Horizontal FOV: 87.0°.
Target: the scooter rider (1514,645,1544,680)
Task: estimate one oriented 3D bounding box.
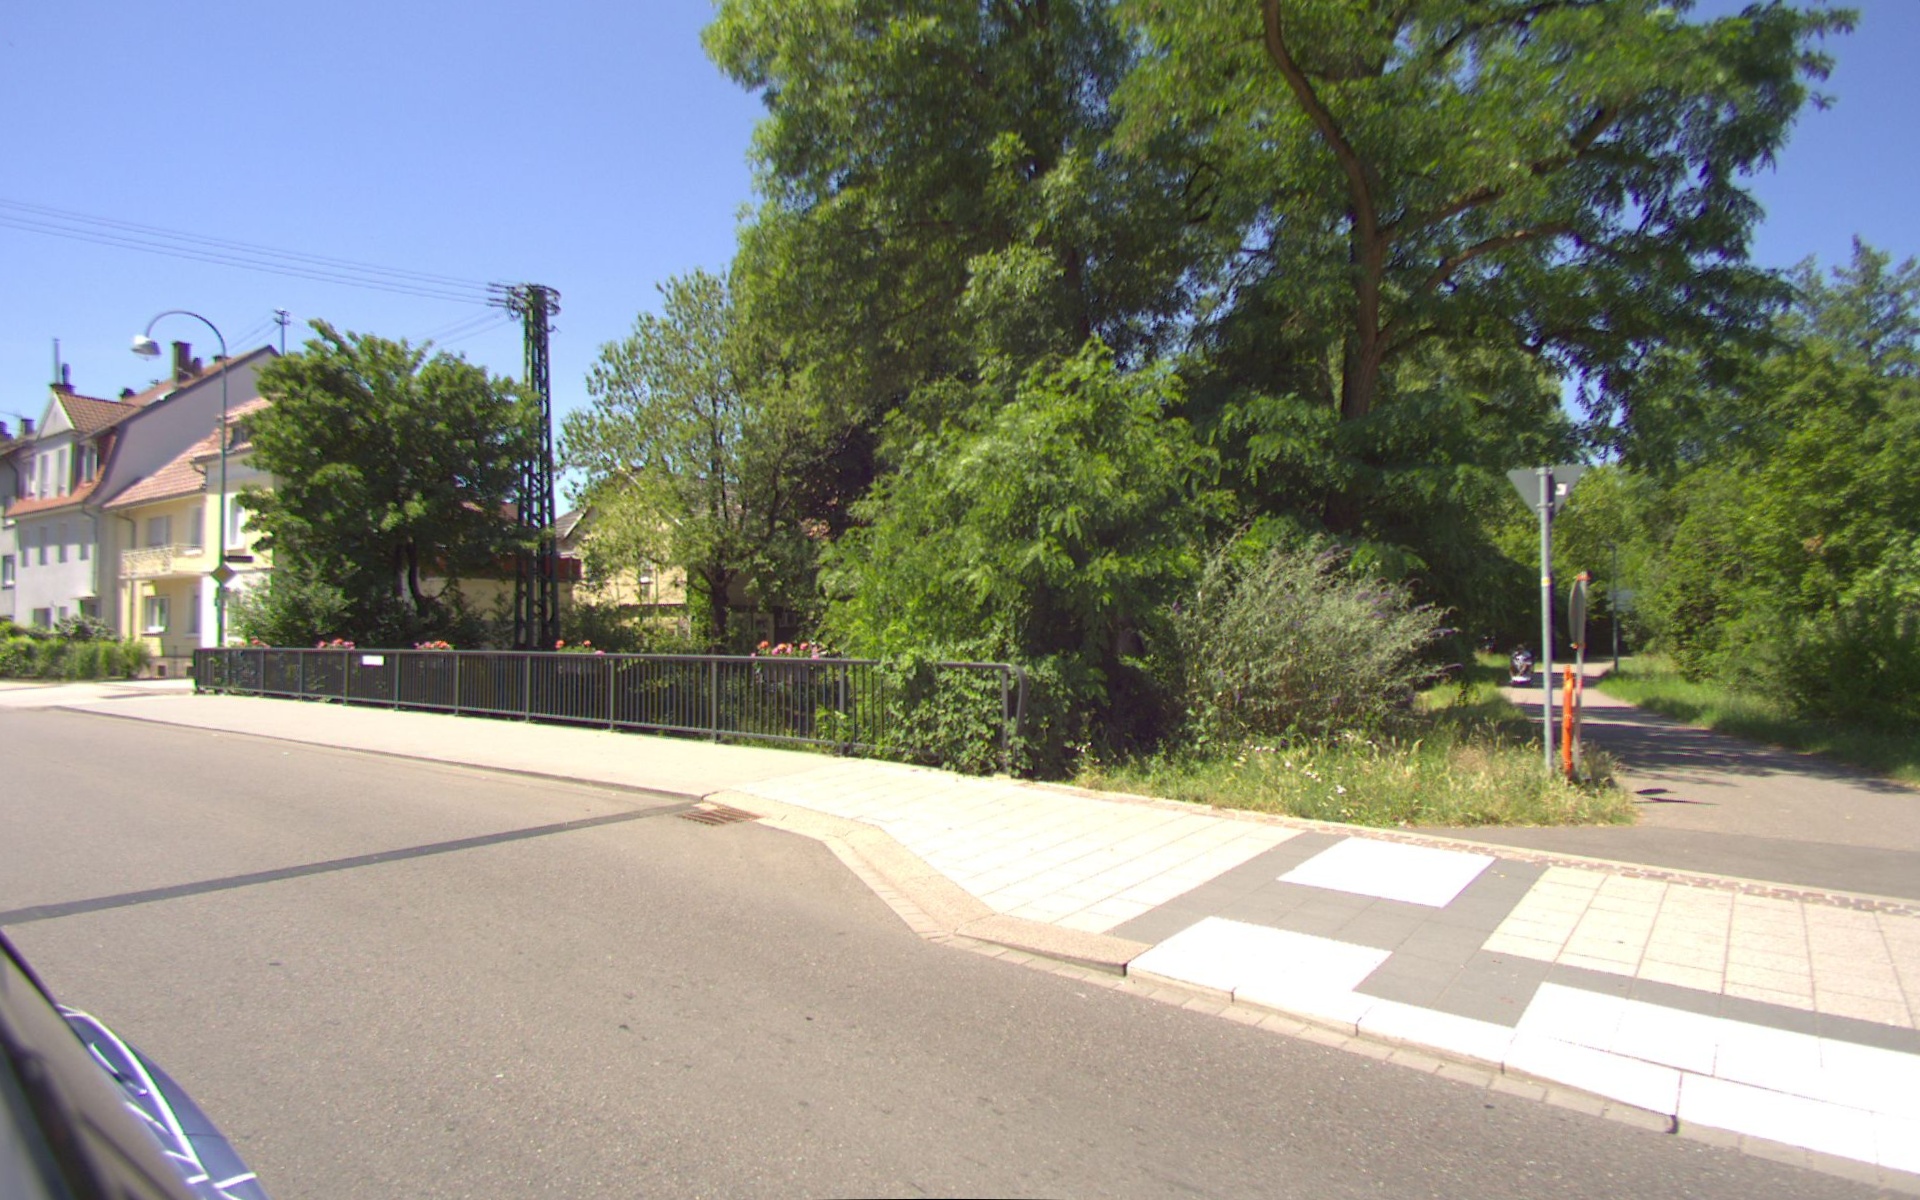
[{"bbox_3d":[18.432,2.016,32.798,0.800,1.059,0.911,-2,-1,29],"label":"scooter rider"}]

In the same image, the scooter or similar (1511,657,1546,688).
[{"bbox_3d":[18.407,2.335,32.798,0.915,0.931,1.610,-1,-2,28],"label":"scooter or similar"}]

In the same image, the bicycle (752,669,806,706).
[{"bbox_3d":[-6.424,3.100,35.988,1.860,1.251,0.560,4,-5,-41],"label":"bicycle"}]

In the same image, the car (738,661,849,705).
[{"bbox_3d":[-6.280,3.119,38.472,1.994,1.488,3.955,-1,-4,33],"label":"car"}]
